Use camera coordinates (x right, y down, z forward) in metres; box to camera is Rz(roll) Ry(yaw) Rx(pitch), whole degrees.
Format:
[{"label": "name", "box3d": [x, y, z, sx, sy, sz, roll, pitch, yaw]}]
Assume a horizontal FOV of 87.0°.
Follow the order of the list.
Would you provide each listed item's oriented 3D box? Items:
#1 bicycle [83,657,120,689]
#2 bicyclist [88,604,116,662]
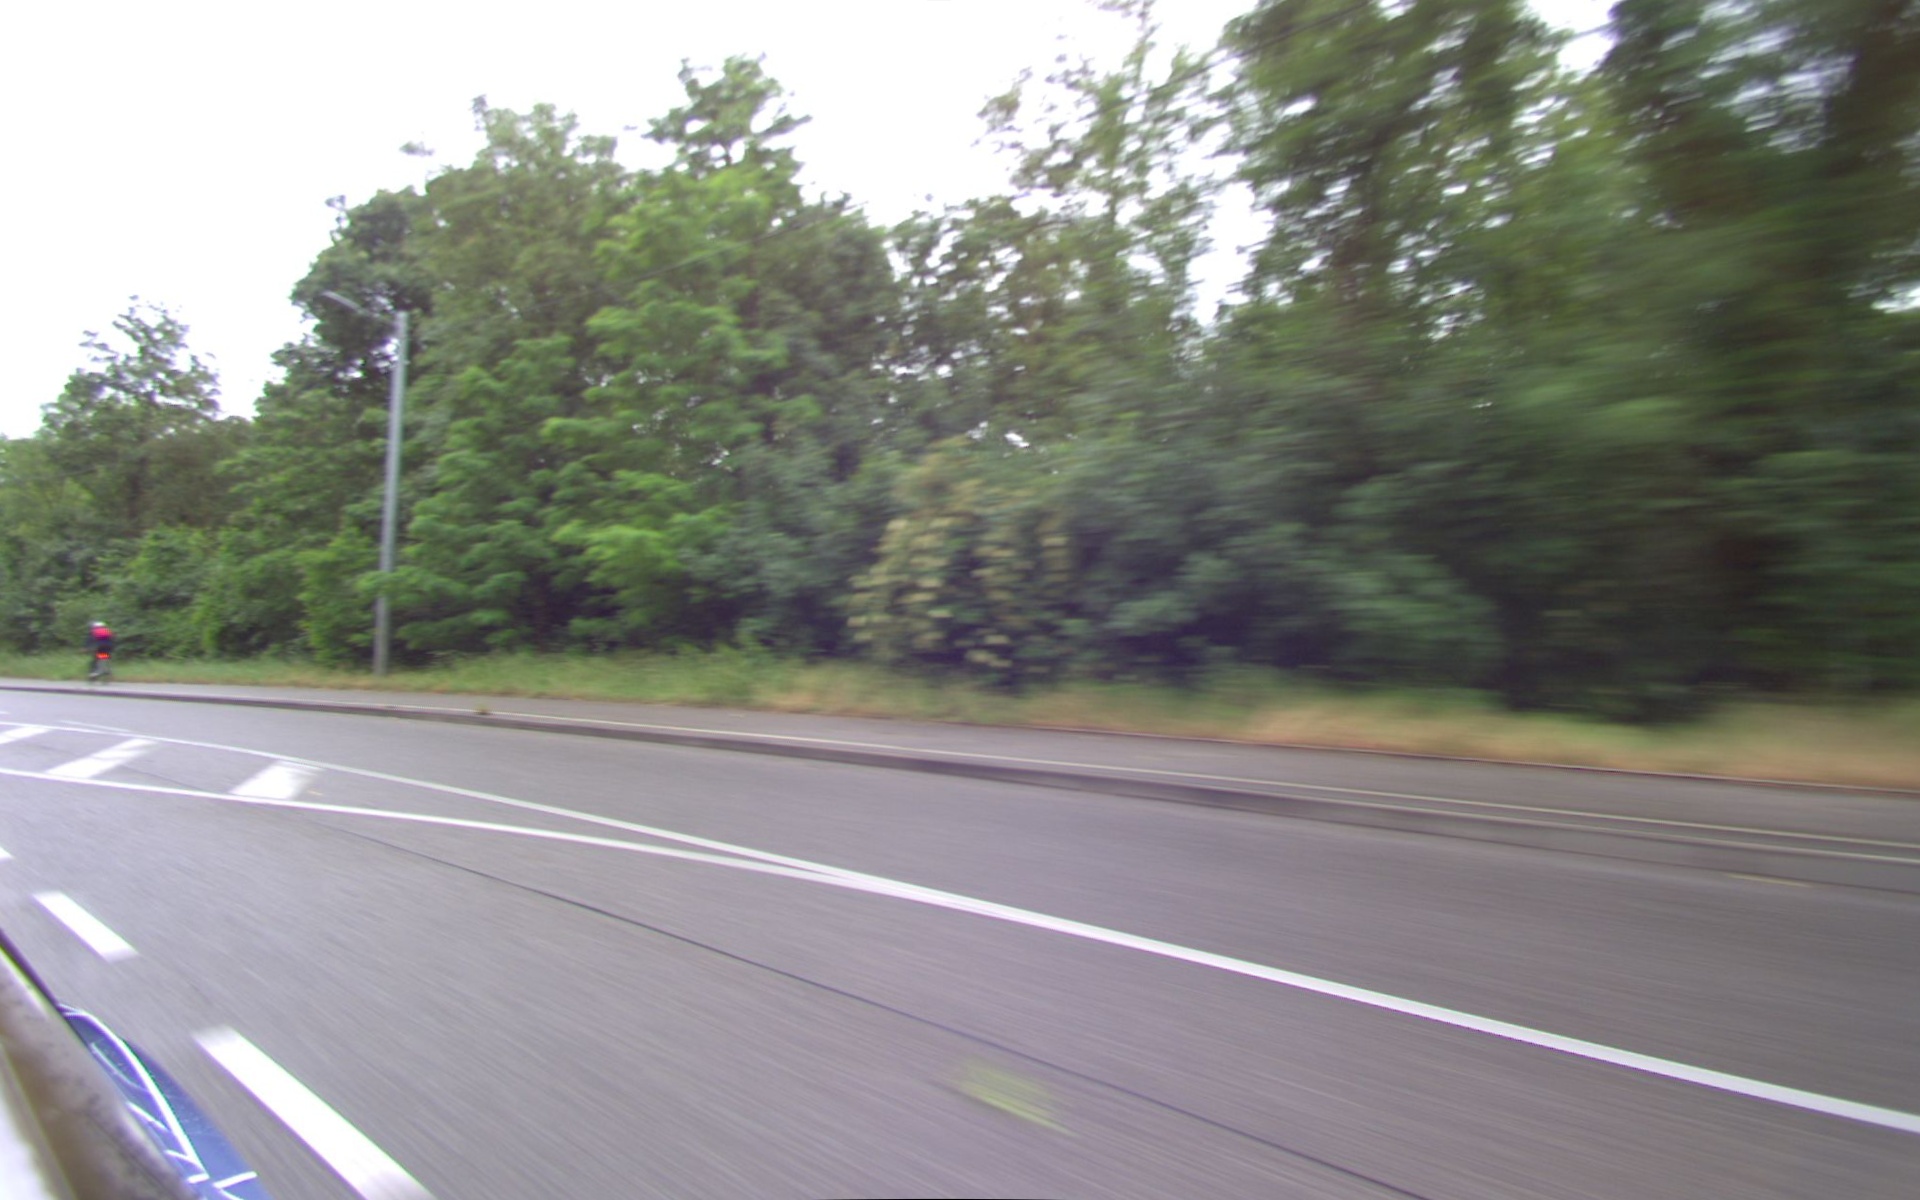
[{"label": "bicycle", "box3d": [-23.990, 2.033, 28.268, 2.090, 0.855, 0.352, -2, -3, 38]}, {"label": "bicyclist", "box3d": [-24.017, 0.929, 28.318, 1.296, 1.586, 0.333, -2, -2, 38]}]
